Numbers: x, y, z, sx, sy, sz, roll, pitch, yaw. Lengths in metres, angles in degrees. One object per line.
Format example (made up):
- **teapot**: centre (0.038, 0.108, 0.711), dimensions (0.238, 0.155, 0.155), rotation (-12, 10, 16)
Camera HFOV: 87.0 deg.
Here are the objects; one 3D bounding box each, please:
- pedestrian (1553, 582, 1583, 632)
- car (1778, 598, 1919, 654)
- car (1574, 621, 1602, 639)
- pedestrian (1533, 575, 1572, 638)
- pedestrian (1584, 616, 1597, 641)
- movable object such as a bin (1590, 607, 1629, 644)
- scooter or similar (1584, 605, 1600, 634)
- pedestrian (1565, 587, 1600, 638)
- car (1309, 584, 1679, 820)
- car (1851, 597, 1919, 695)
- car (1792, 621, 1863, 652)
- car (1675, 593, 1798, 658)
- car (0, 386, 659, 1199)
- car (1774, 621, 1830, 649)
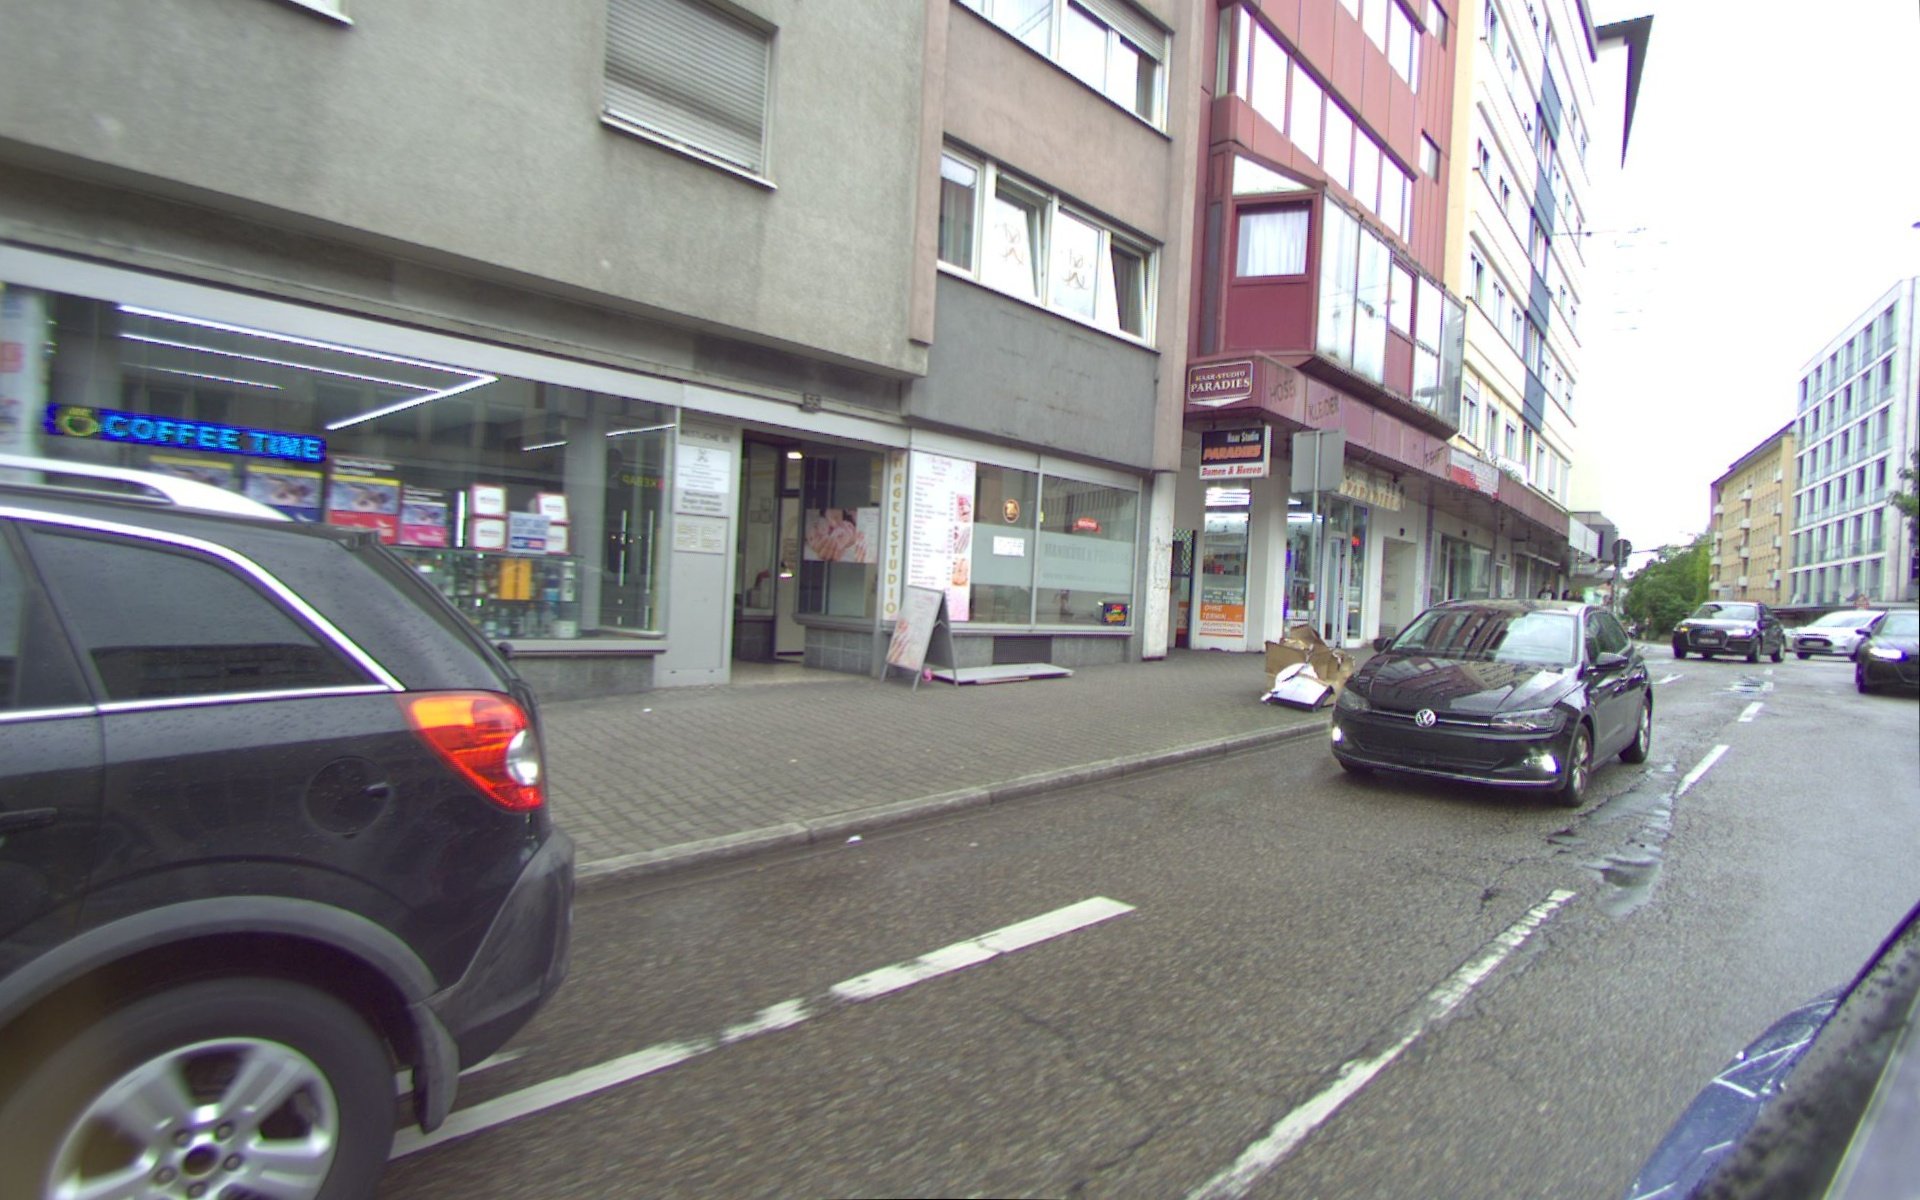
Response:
- **pedestrian**: centre (22.502, 0.262, 37.451), dimensions (0.772, 1.786, 0.618), rotation (2, -2, -28)
- **car**: centre (27.428, 0.800, 31.123), dimensions (4.018, 1.604, 2.003), rotation (2, -1, -25)
- **car**: centre (55.232, 2.665, 89.025), dimensions (1.769, 1.472, 3.960), rotation (1, -2, 28)
- **pedestrian**: centre (17.738, 0.189, 30.284), dimensions (0.833, 1.786, 0.610), rotation (6, 1, 34)
- **pedestrian**: centre (42.497, 1.936, 68.247), dimensions (0.732, 1.666, 0.634), rotation (0, -1, 32)
- **movable object such as a bin**: centre (18.252, 0.716, 28.443), dimensions (0.658, 0.945, 0.534), rotation (4, 3, -13)
- **scooter or similar**: centre (29.868, 0.910, 47.807), dimensions (1.129, 1.377, 0.376), rotation (1, -1, -44)
- **pedestrian**: centre (21.622, 0.447, 35.157), dimensions (0.738, 1.745, 0.755), rotation (2, -2, -28)
- **car**: centre (4.592, 0.638, 8.435), dimensions (1.738, 1.448, 3.819), rotation (3, 2, 43)
- **car**: centre (16.949, 0.755, 17.303), dimensions (4.652, 1.510, 1.997), rotation (1, 1, -41)
- **car**: centre (44.656, 1.863, 52.161), dimensions (1.959, 1.405, 3.957), rotation (5, 1, 30)
- **car**: centre (20.567, 0.650, 26.751), dimensions (4.032, 1.567, 1.869), rotation (1, -1, -41)
- **car**: centre (-2.974, 0.510, 1.836), dimensions (4.222, 1.808, 1.912), rotation (2, -1, -38)
- **car**: centre (48.123, 1.966, 57.923), dimensions (1.795, 1.517, 3.957), rotation (0, -1, 30)
